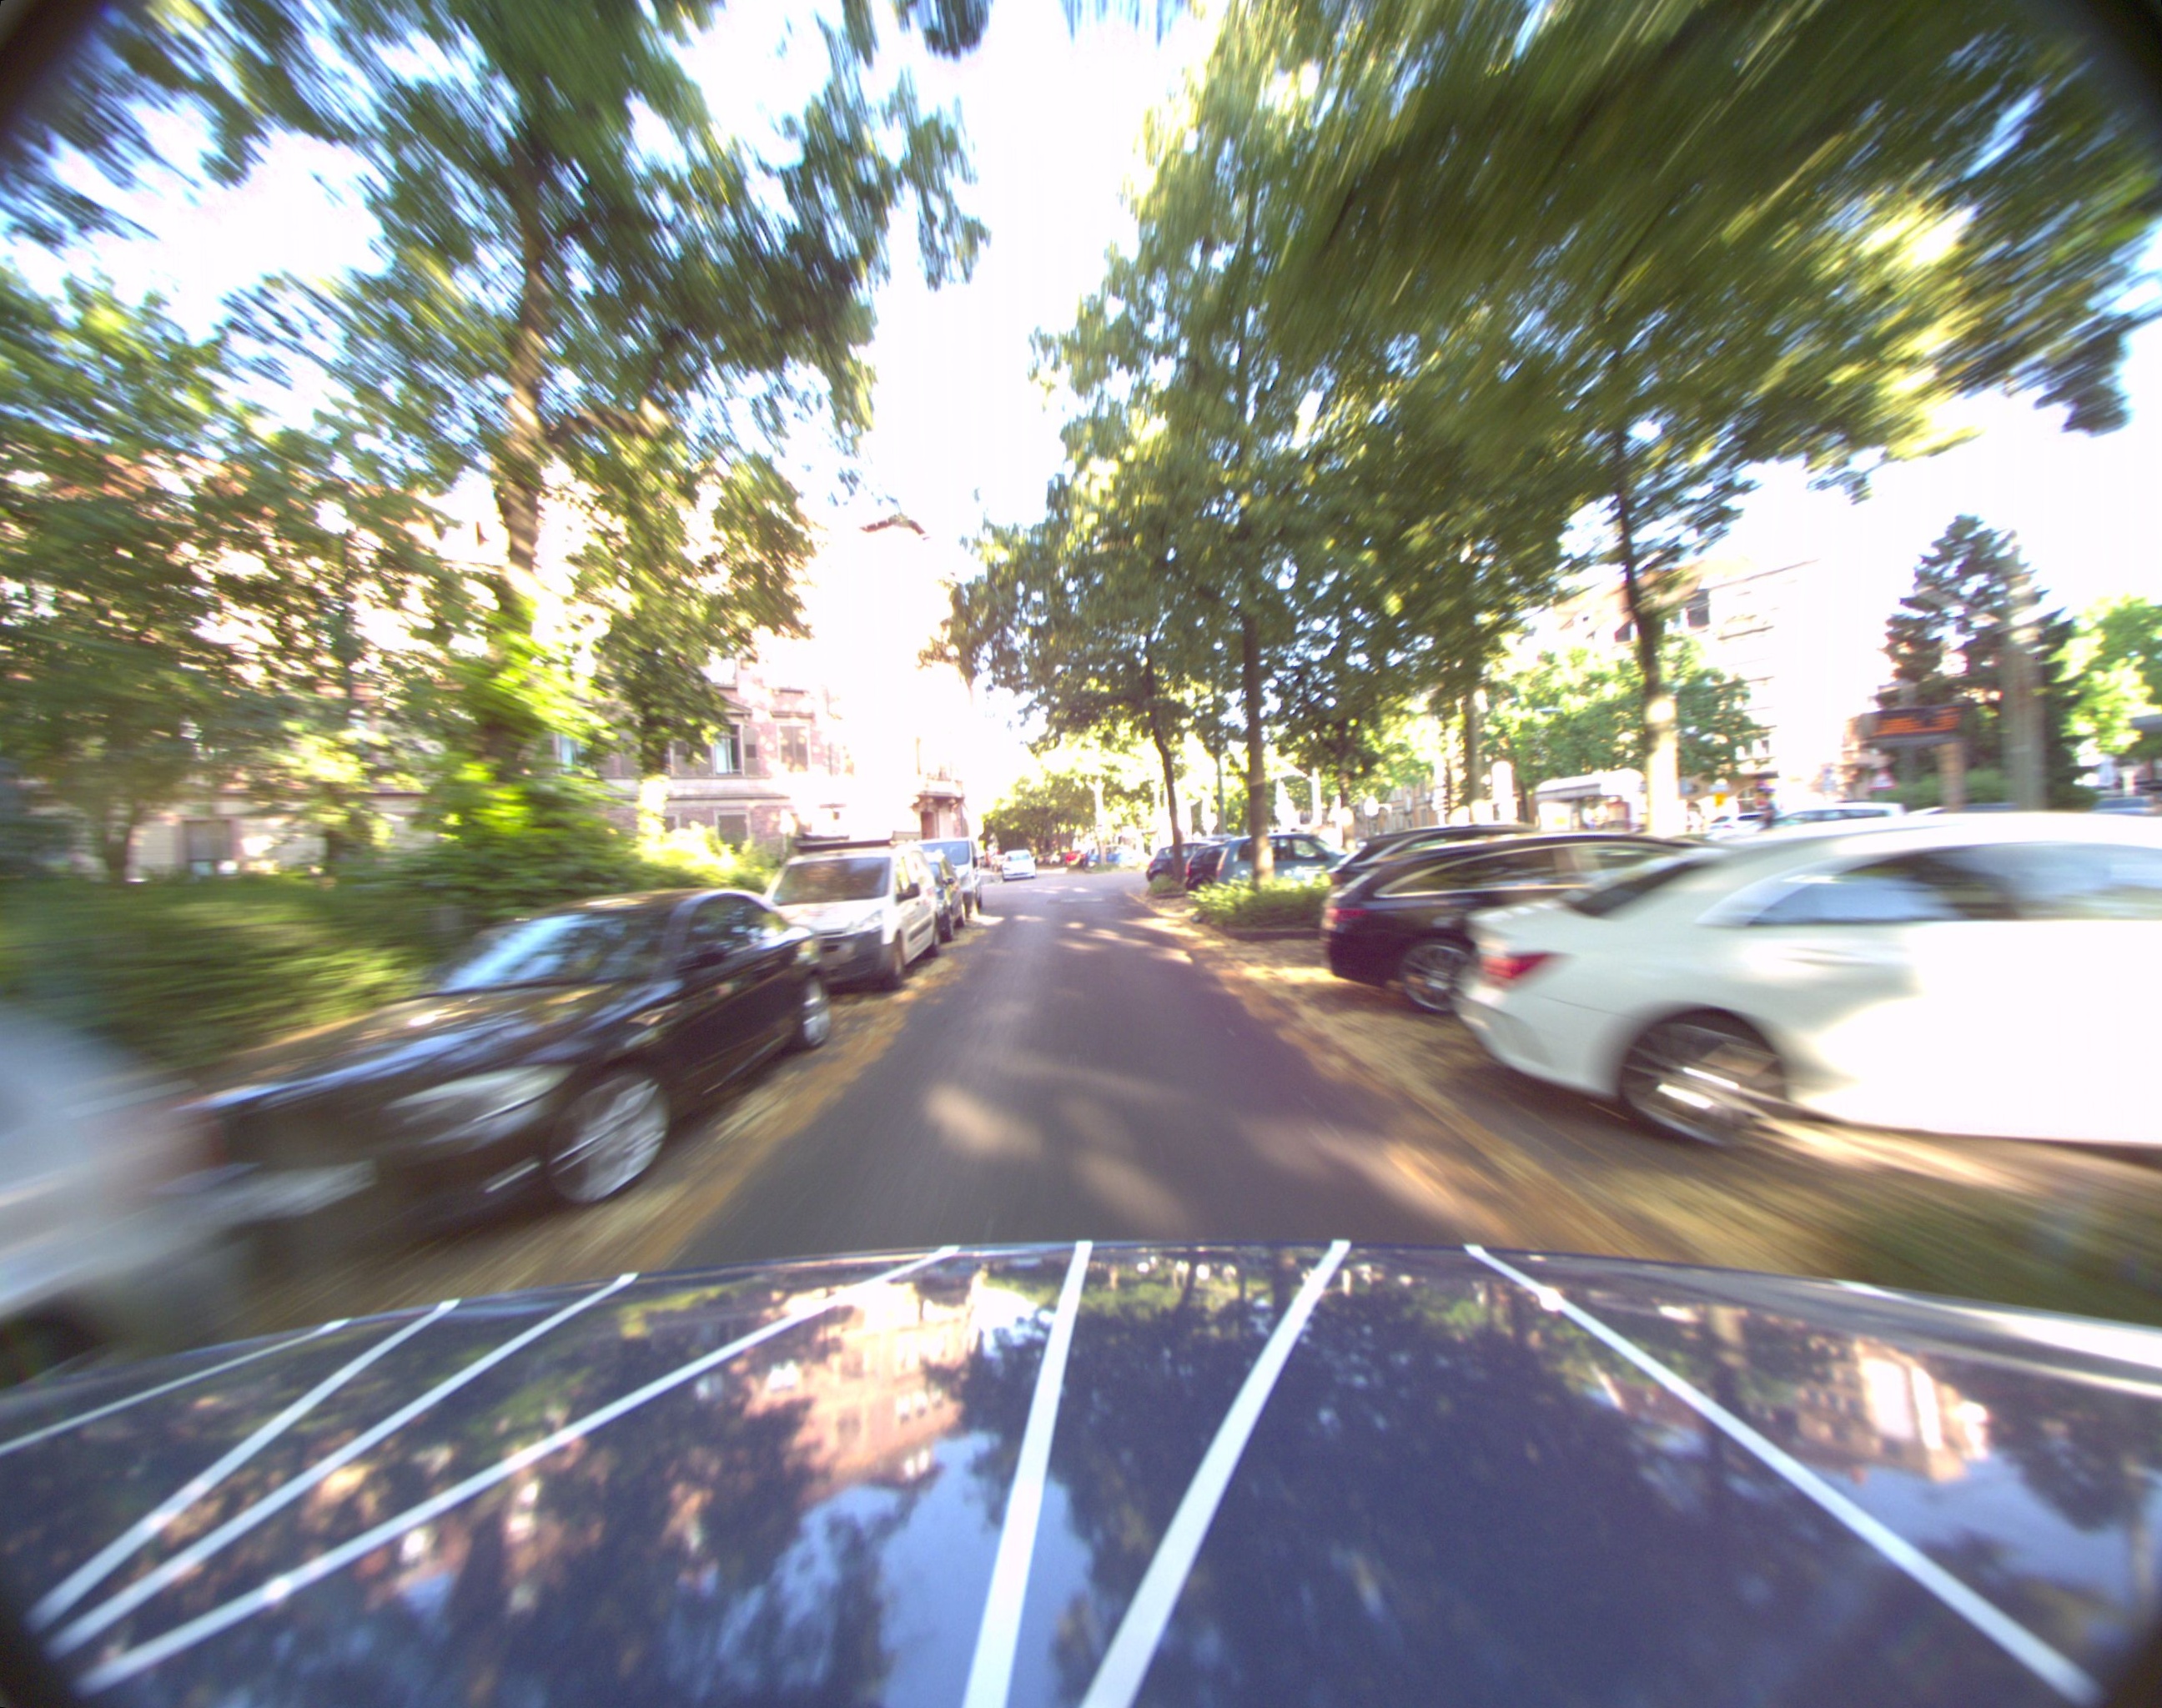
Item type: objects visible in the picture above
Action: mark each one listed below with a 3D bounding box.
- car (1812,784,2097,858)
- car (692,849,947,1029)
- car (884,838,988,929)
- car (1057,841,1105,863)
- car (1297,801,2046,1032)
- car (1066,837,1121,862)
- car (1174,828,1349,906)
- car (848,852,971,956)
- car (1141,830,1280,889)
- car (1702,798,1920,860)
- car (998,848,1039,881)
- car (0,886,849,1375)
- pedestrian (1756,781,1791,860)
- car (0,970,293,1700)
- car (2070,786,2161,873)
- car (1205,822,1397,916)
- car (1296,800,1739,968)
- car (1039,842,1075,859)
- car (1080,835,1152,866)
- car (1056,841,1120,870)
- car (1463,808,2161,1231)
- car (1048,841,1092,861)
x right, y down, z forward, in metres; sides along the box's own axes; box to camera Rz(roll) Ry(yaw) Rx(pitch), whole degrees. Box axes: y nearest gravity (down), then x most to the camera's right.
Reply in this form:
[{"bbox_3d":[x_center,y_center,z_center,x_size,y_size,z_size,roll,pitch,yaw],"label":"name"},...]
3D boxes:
[{"bbox_3d":[20.736,-0.748,18.358,4.139,1.613,1.891,0,3,33],"label":"car"},{"bbox_3d":[-3.061,0.860,9.969,1.791,1.698,4.375,-3,1,-1],"label":"car"},{"bbox_3d":[-3.562,0.619,19.648,1.971,1.924,5.452,-3,1,-5],"label":"car"},{"bbox_3d":[-0.028,-0.222,74.085,4.235,1.658,1.636,-6,2,21],"label":"car"},{"bbox_3d":[4.226,0.519,6.318,4.304,1.396,1.747,-5,0,27],"label":"car"},{"bbox_3d":[1.080,-0.412,65.866,4.235,1.658,1.636,-6,2,21],"label":"car"},{"bbox_3d":[4.332,0.315,18.254,3.687,1.440,1.636,-5,2,27],"label":"car"},{"bbox_3d":[-3.144,0.824,14.649,1.571,1.606,3.893,-3,1,-3],"label":"car"},{"bbox_3d":[4.064,0.183,23.924,3.889,1.440,1.636,-5,2,27],"label":"car"},{"bbox_3d":[20.510,-0.690,21.634,4.139,1.613,1.891,0,3,31],"label":"car"},{"bbox_3d":[-3.719,0.552,44.455,1.942,1.613,4.239,-7,2,-8],"label":"car"},{"bbox_3d":[-3.002,1.066,4.801,1.676,1.383,4.265,-3,1,0],"label":"car"},{"bbox_3d":[18.207,-0.876,19.982,0.536,2.002,0.644,-2,2,32],"label":"pedestrian"},{"bbox_3d":[-3.164,1.136,0.234,1.676,1.450,3.892,-3,1,0],"label":"car"},{"bbox_3d":[20.503,-0.469,13.023,3.989,1.511,1.590,0,3,32],"label":"car"},{"bbox_3d":[4.452,0.310,15.395,3.346,1.559,1.574,-5,0,29],"label":"car"},{"bbox_3d":[4.801,0.374,8.949,3.991,1.503,1.962,-5,0,25],"label":"car"},{"bbox_3d":[-2.941,-0.430,93.843,4.241,1.658,1.634,-6,2,-2],"label":"car"},{"bbox_3d":[2.403,-0.250,52.192,4.434,1.613,1.636,-6,2,21],"label":"car"},{"bbox_3d":[0.496,0.103,55.835,4.235,1.613,1.636,-6,2,21],"label":"car"},{"bbox_3d":[4.316,0.574,3.394,4.456,1.396,1.860,-5,0,30],"label":"car"},{"bbox_3d":[-1.158,-0.361,81.012,4.235,1.658,1.636,-6,2,21],"label":"car"}]
